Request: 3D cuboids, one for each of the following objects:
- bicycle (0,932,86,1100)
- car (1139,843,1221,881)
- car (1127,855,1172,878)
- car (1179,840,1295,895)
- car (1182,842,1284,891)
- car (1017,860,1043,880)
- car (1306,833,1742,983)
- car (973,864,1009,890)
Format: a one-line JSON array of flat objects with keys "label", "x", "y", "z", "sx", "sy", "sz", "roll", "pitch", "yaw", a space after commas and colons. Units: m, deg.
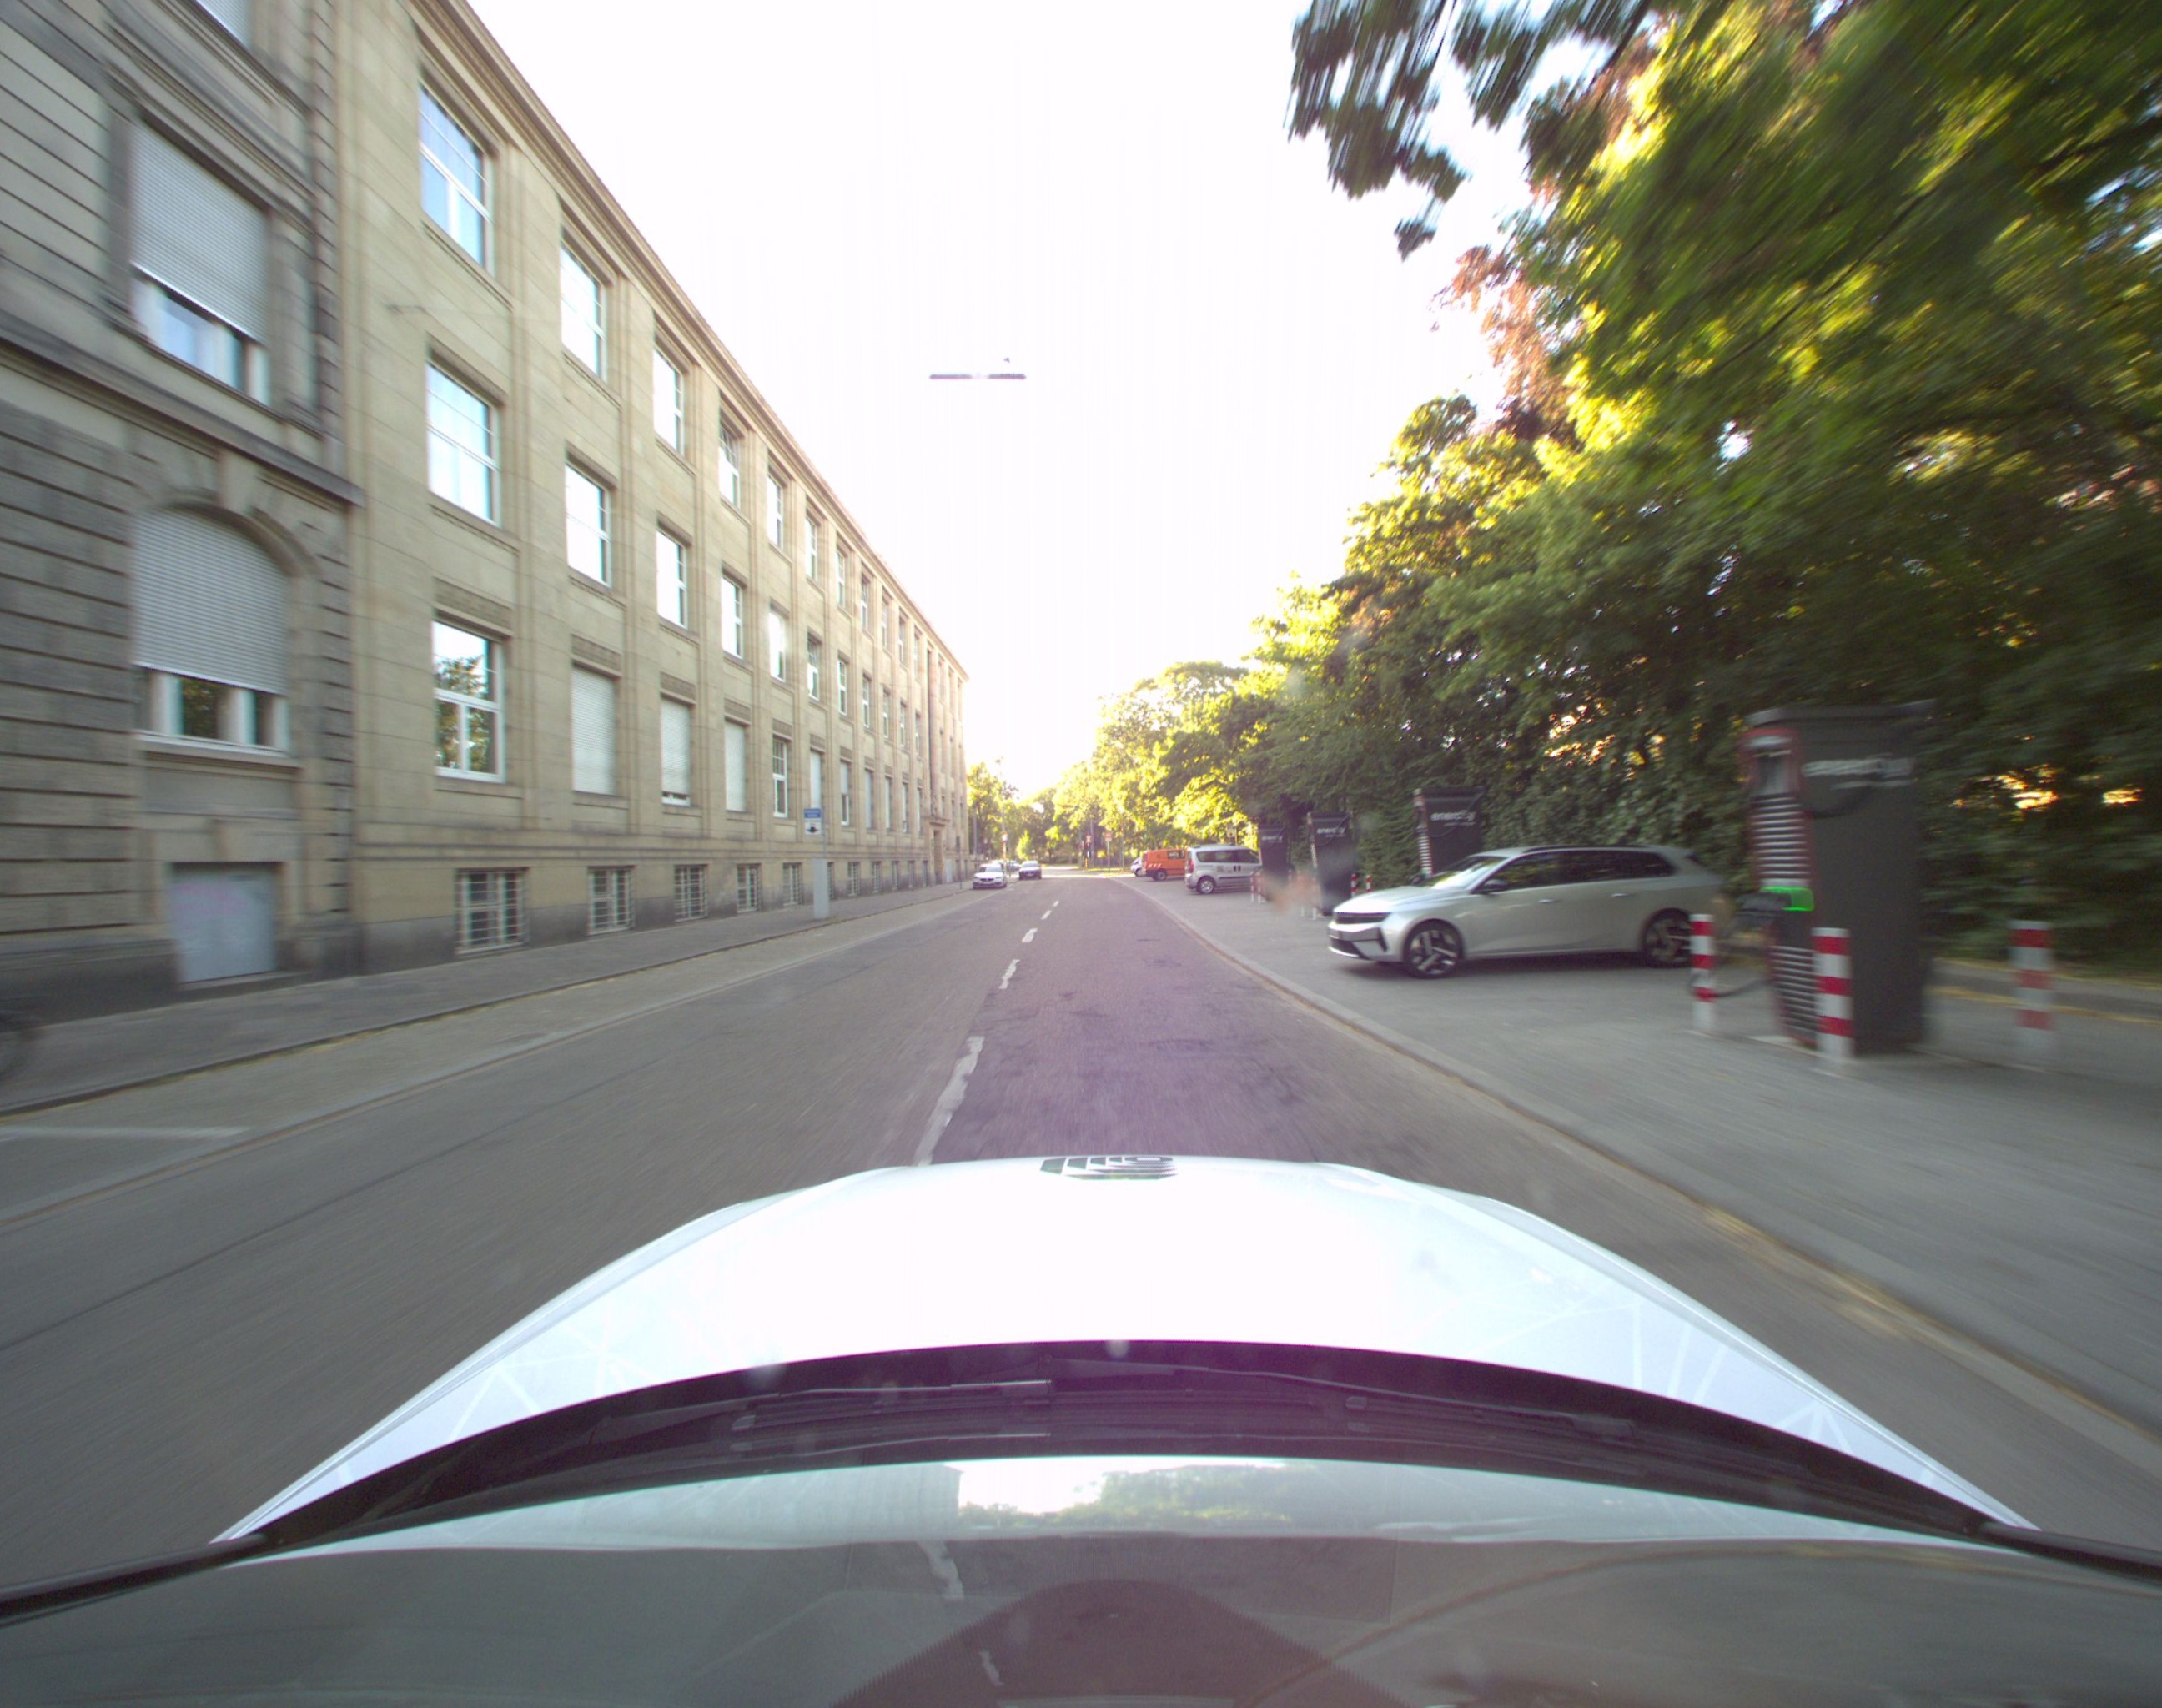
[{"label": "bicycle", "x": -7.856, "y": 1.128, "z": 5.047, "sx": 0.848, "sy": 1.101, "sz": 1.985, "roll": 0, "pitch": 0, "yaw": 5}, {"label": "car", "x": 6.238, "y": 0.504, "z": 51.608, "sx": 4.812, "sy": 2.013, "sz": 1.798, "roll": -4, "pitch": 0, "yaw": -6}, {"label": "car", "x": 5.219, "y": 0.928, "z": 62.180, "sx": 3.139, "sy": 1.503, "sz": 1.537, "roll": -4, "pitch": 0, "yaw": -6}, {"label": "car", "x": 6.112, "y": 0.521, "z": 32.288, "sx": 4.212, "sy": 1.859, "sz": 2.001, "roll": -3, "pitch": -1, "yaw": 2}, {"label": "car", "x": 6.472, "y": 0.536, "z": 34.931, "sx": 4.008, "sy": 1.835, "sz": 1.615, "roll": -3, "pitch": -1, "yaw": 2}, {"label": "car", "x": -4.107, "y": 1.287, "z": 65.788, "sx": 1.873, "sy": 1.466, "sz": 4.370, "roll": -2, "pitch": 0, "yaw": -1}, {"label": "car", "x": 5.293, "y": 0.618, "z": 10.165, "sx": 4.426, "sy": 1.469, "sz": 1.782, "roll": -3, "pitch": 0, "yaw": 0}, {"label": "car", "x": -5.290, "y": 1.350, "z": 48.339, "sx": 1.722, "sy": 1.397, "sz": 4.370, "roll": -2, "pitch": 0, "yaw": -1}]
